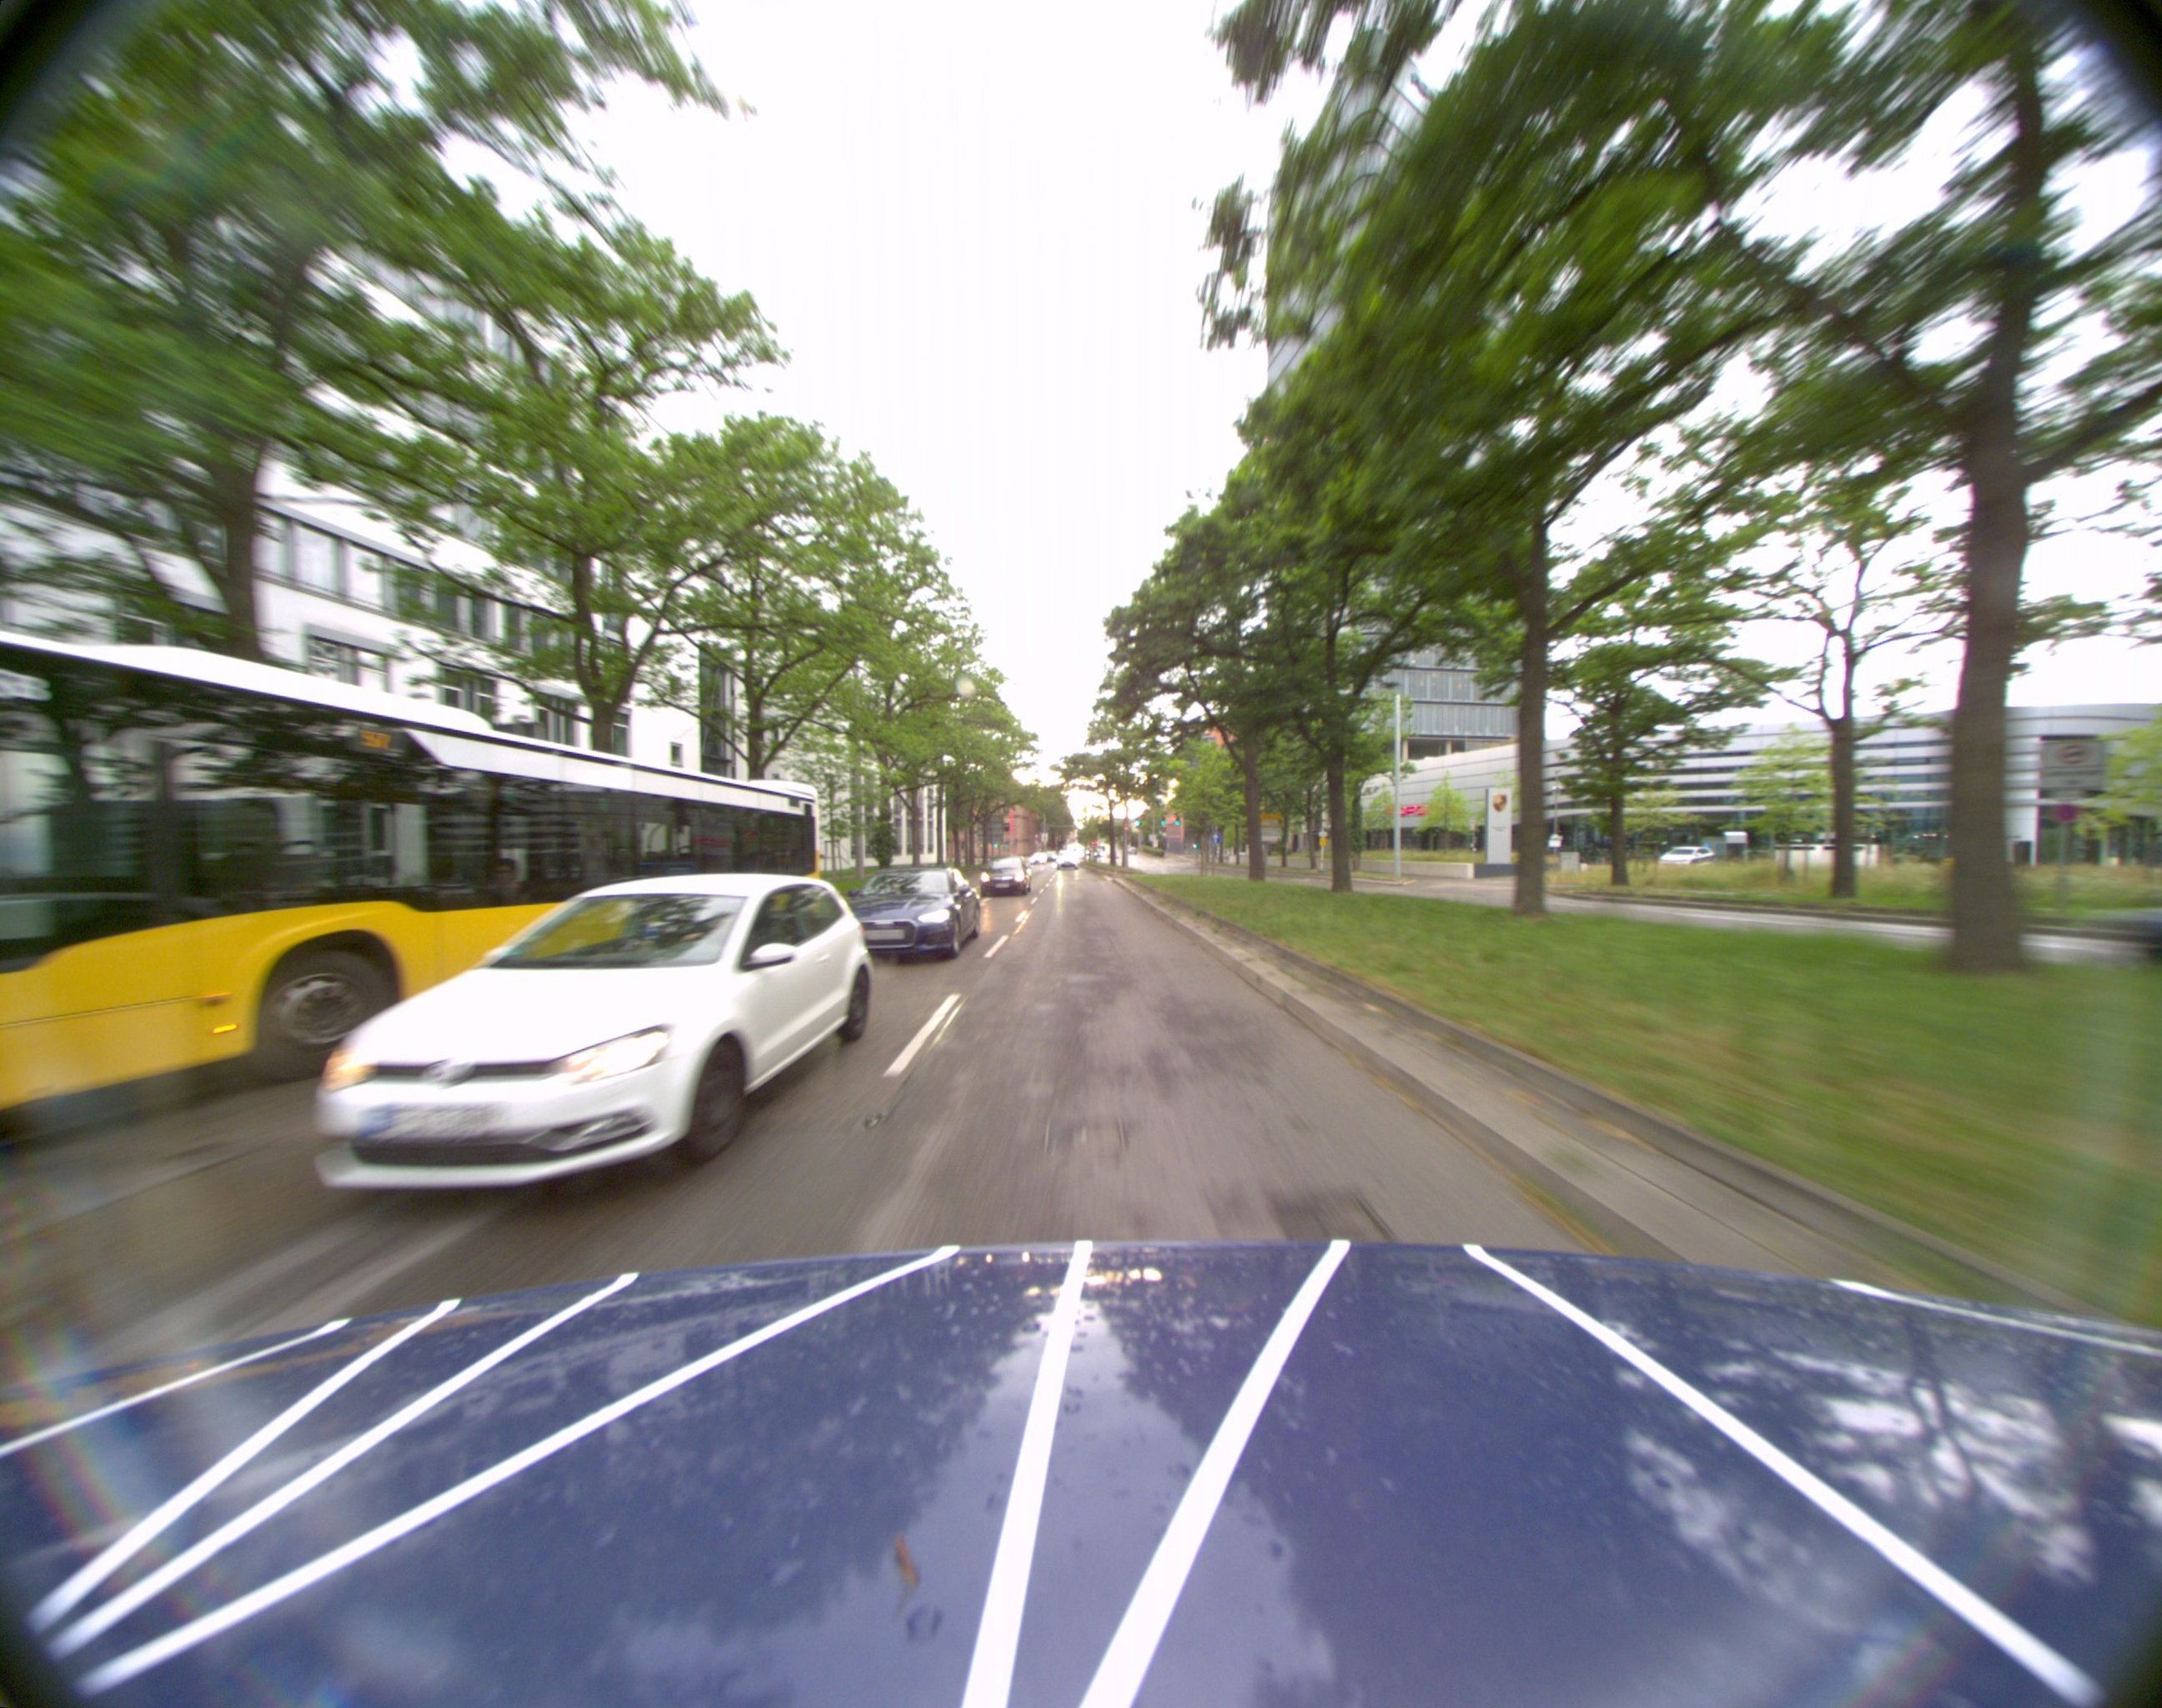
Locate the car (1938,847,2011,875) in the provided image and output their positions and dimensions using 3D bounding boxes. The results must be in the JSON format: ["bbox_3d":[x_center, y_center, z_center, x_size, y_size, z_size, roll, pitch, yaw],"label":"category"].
[{"bbox_3d":[49.291,0.366,41.897,4.004,1.316,1.617,-3,2,-25],"label":"car"}]

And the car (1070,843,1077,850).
[{"bbox_3d":[-2.287,-2.187,222.785,1.998,2.002,3.999,0,1,0],"label":"car"}]

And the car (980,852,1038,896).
[{"bbox_3d":[-2.651,0.712,28.807,1.625,1.426,3.551,-2,1,3],"label":"car"}]

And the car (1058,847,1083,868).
[{"bbox_3d":[-0.881,0.257,65.037,1.998,1.707,4.000,0,1,1],"label":"car"}]

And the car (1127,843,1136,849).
[{"bbox_3d":[12.436,-2.080,188.790,1.783,1.445,3.998,-2,1,-2],"label":"car"}]

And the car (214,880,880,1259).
[{"bbox_3d":[-2.769,0.982,5.130,1.745,1.423,3.811,0,1,1],"label":"car"}]

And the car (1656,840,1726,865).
[{"bbox_3d":[39.589,-0.112,49.310,4.003,1.405,1.775,-3,2,-21],"label":"car"}]

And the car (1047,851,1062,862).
[{"bbox_3d":[-3.854,0.323,112.103,1.998,1.630,4.000,0,1,1],"label":"car"}]

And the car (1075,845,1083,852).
[{"bbox_3d":[-0.552,-1.297,188.981,1.998,1.772,3.999,0,1,0],"label":"car"}]

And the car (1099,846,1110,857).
[{"bbox_3d":[4.401,-0.424,140.864,1.998,2.002,4.000,0,1,1],"label":"car"}]

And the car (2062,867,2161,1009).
[{"bbox_3d":[11.832,0.861,6.489,1.791,1.387,3.879,-1,1,-5],"label":"car"}]

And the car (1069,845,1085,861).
[{"bbox_3d":[-0.509,-0.119,99.260,1.931,2.002,4.000,0,1,1],"label":"car"}]

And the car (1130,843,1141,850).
[{"bbox_3d":[12.322,-1.677,172.500,1.894,1.445,3.998,-2,1,-2],"label":"car"}]

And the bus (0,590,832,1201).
[{"bbox_3d":[-6.633,0.216,8.840,2.733,3.133,12.147,-2,0,3],"label":"bus"}]

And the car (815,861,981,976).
[{"bbox_3d":[-2.761,0.891,12.454,1.879,1.346,4.329,-2,1,-4],"label":"car"}]

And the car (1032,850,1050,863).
[{"bbox_3d":[-5.071,0.295,97.252,1.998,1.576,4.000,0,1,1],"label":"car"}]
